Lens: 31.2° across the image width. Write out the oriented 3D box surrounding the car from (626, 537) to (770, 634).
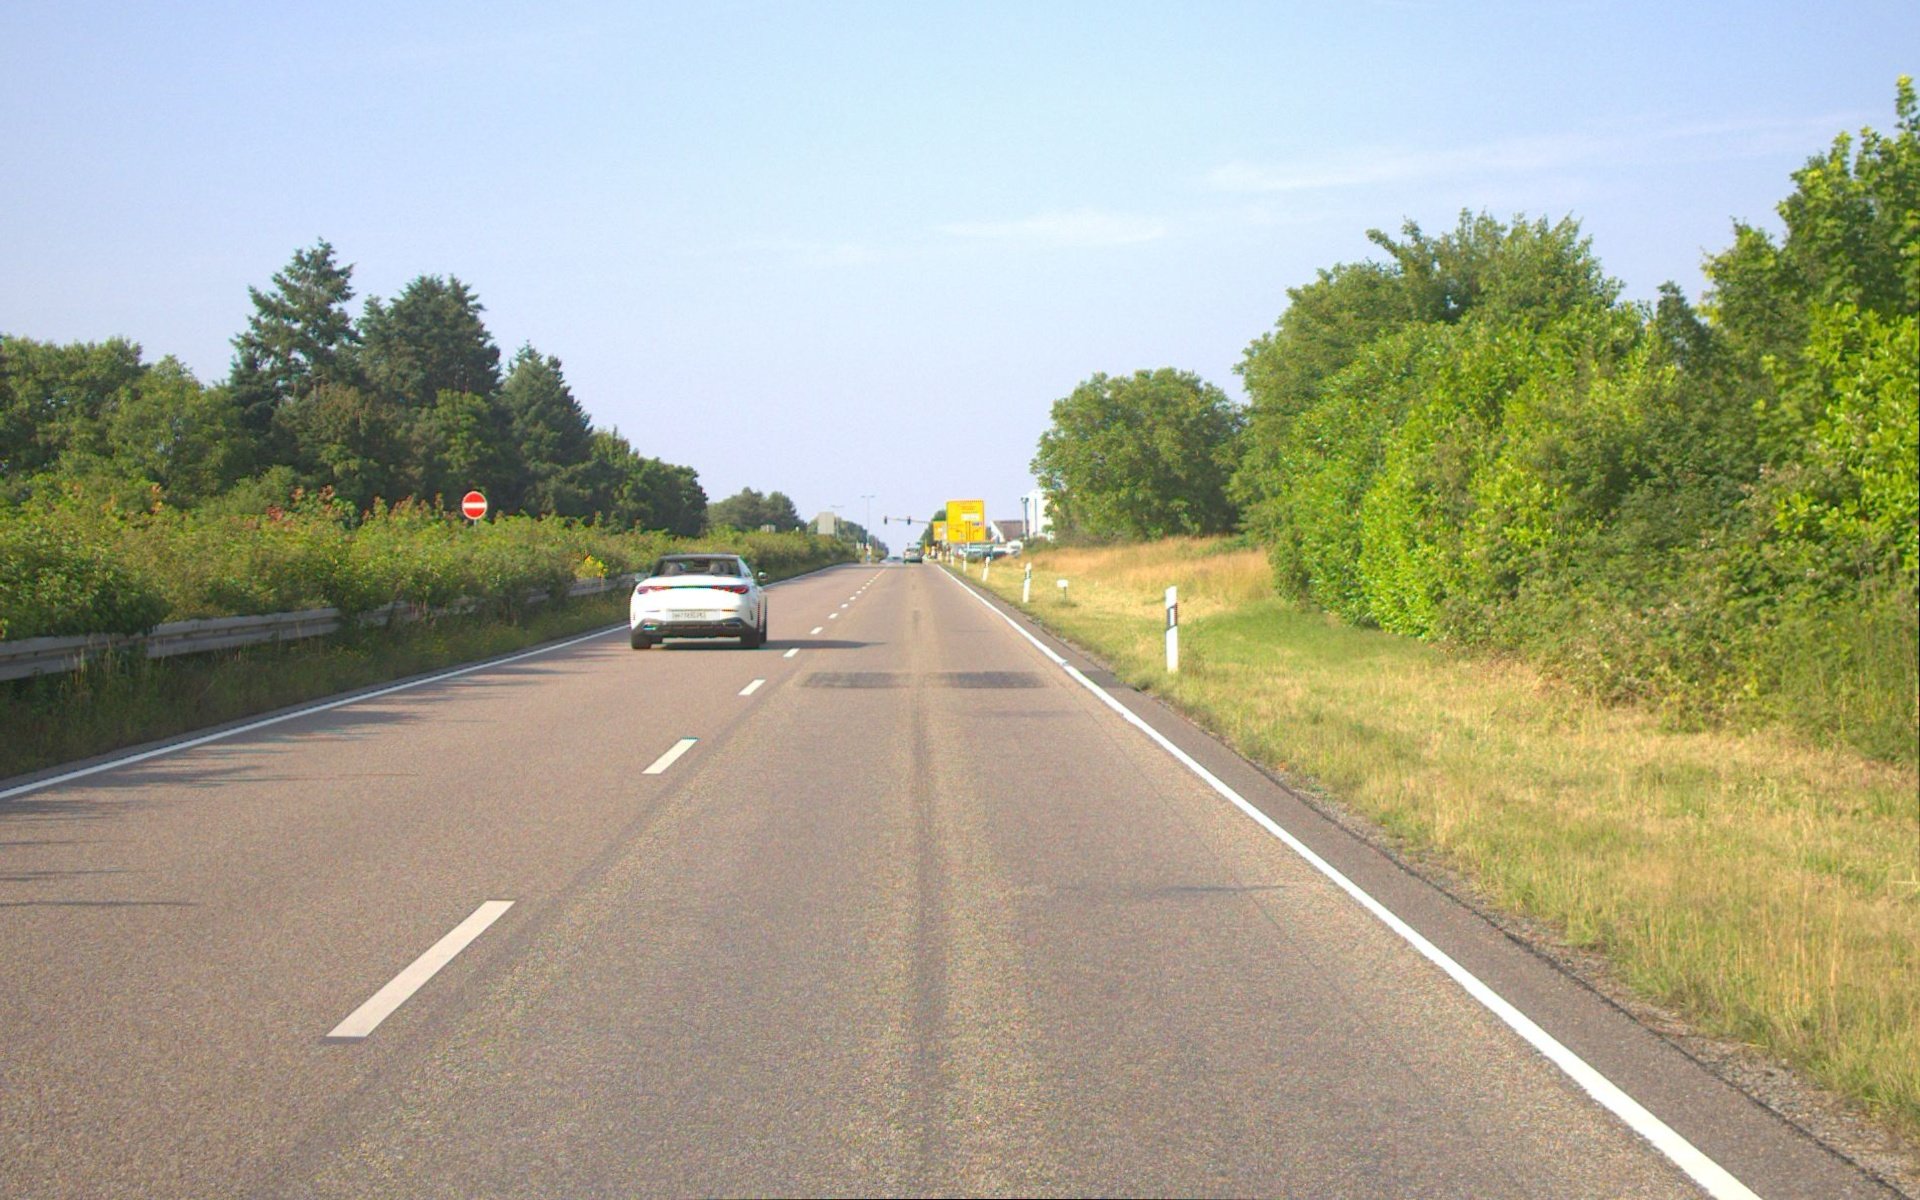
[{"bbox_3d":[-3.832,-0.231,51.017,1.771,1.333,4.950,1,1,0],"label":"car"}]
